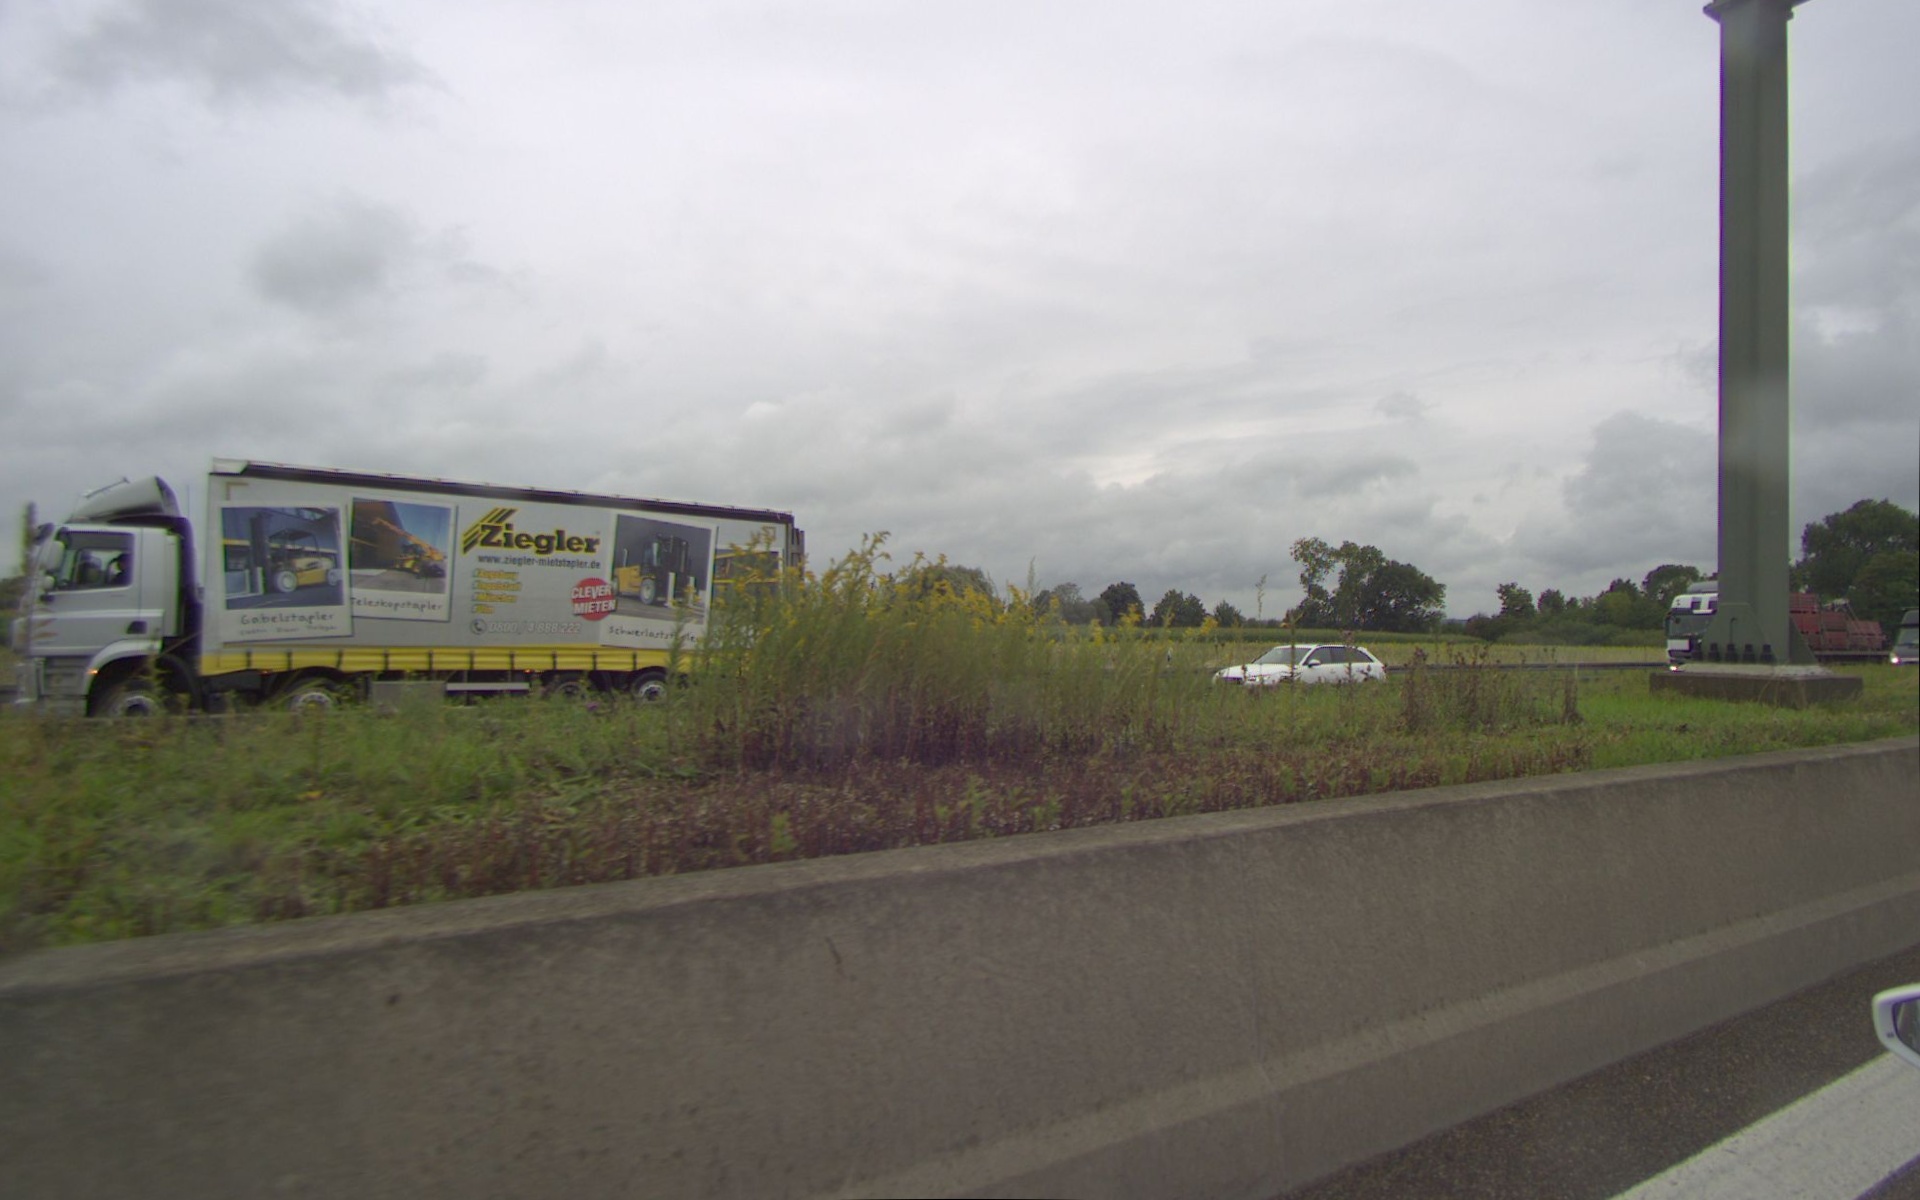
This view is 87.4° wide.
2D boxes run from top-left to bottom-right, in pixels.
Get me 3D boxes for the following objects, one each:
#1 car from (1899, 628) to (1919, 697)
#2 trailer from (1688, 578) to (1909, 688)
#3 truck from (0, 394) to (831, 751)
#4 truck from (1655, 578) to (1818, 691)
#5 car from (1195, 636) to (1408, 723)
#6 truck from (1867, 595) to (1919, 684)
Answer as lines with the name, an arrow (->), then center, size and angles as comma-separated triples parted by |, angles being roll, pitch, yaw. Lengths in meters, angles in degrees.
car -> 26.529, 1.679, 26.298 | 3.953, 1.740, 1.772 | 2, 0, -30
trailer -> 32.692, 1.152, 38.902 | 12.049, 3.776, 2.628 | 0, 1, -31
truck -> -8.327, -0.188, 17.362 | 11.658, 4.543, 3.493 | 2, 0, -32
truck -> 27.892, 1.146, 36.062 | 5.802, 3.776, 2.628 | 0, 1, -30
car -> 7.893, 1.777, 23.110 | 4.780, 1.740, 1.984 | 2, 0, -30
truck -> 34.911, 1.428, 35.349 | 7.337, 2.947, 2.300 | 2, 0, -30
